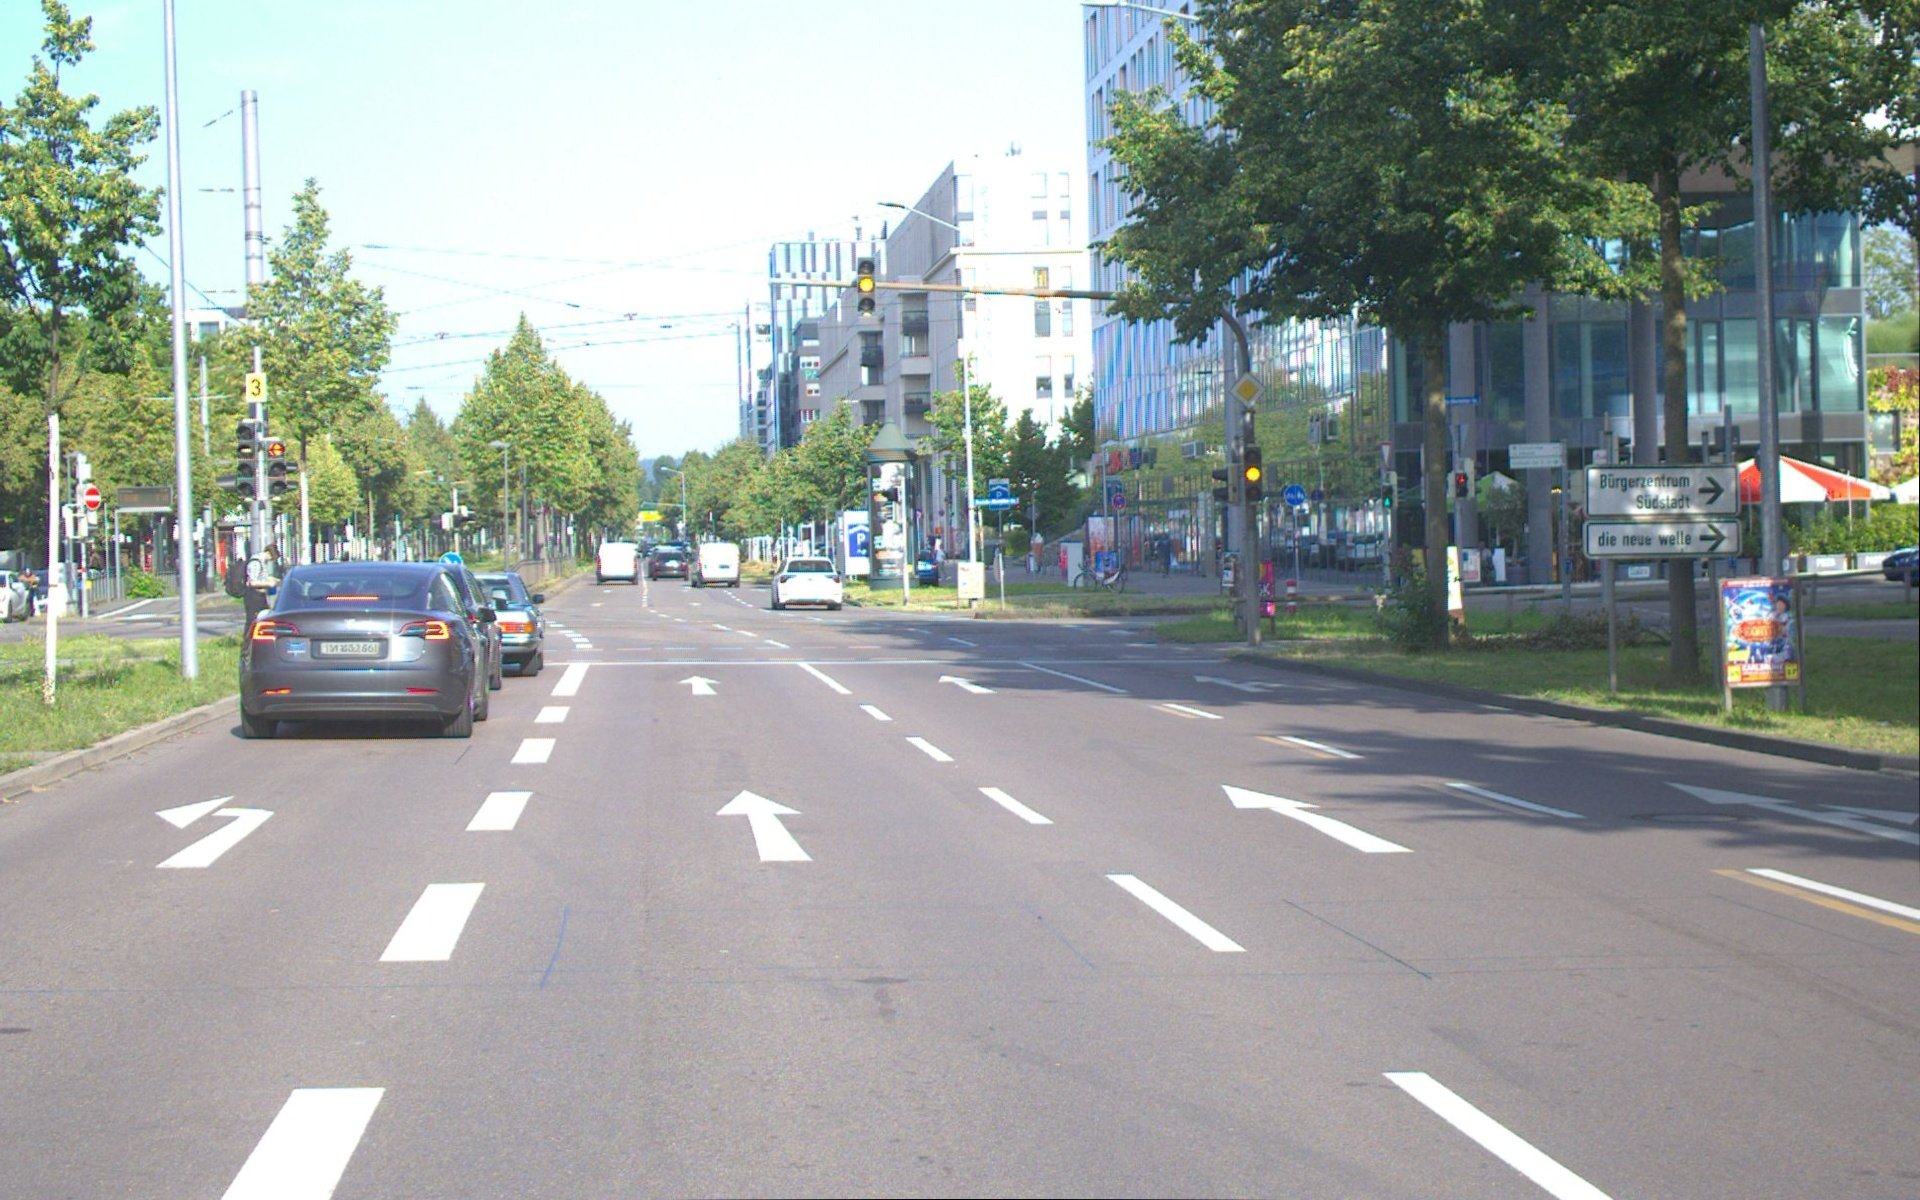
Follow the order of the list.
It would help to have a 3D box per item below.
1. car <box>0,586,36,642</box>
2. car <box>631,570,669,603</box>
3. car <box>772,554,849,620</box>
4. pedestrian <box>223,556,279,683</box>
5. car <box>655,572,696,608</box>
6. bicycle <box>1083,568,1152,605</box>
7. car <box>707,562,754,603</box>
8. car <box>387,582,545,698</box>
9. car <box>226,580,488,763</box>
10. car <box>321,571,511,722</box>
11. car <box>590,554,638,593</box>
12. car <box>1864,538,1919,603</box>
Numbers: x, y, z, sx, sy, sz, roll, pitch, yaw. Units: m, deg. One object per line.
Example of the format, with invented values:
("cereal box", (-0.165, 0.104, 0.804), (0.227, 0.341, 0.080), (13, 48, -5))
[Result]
("car", (-27.223, 0.425, 96.099), (1.993, 1.499, 4.093), (-1, -1, -5))
("car", (-16.320, -0.708, 180.919), (1.923, 1.678, 4.001), (1, 1, -6))
("car", (-3.979, -0.362, 90.896), (1.864, 1.678, 4.001), (1, 1, -5))
("pedestrian", (-10.028, 0.273, 48.663), (0.699, 1.786, 0.635), (0, 0, -5))
("car", (-13.823, -0.513, 167.075), (1.923, 1.678, 4.001), (1, 1, -5))
("bicycle", (4.466, -0.385, 97.774), (1.877, 1.029, 0.772), (0, 1, 42))
("car", (-9.604, -0.757, 143.684), (1.864, 1.678, 4.001), (1, 1, -5))
("car", (-6.098, 0.464, 42.798), (1.763, 1.325, 4.401), (1, 1, -6))
("car", (-4.984, 0.545, 28.909), (1.889, 1.381, 4.335), (0, 1, -6))
("car", (-5.706, 0.451, 36.439), (1.786, 1.474, 4.354), (0, 1, -6))
("car", (-15.098, -1.154, 150.072), (2.014, 1.678, 4.001), (1, 1, -5))
("car", (23.019, -0.724, 78.451), (4.183, 1.419, 1.859), (-2, 1, -6))
